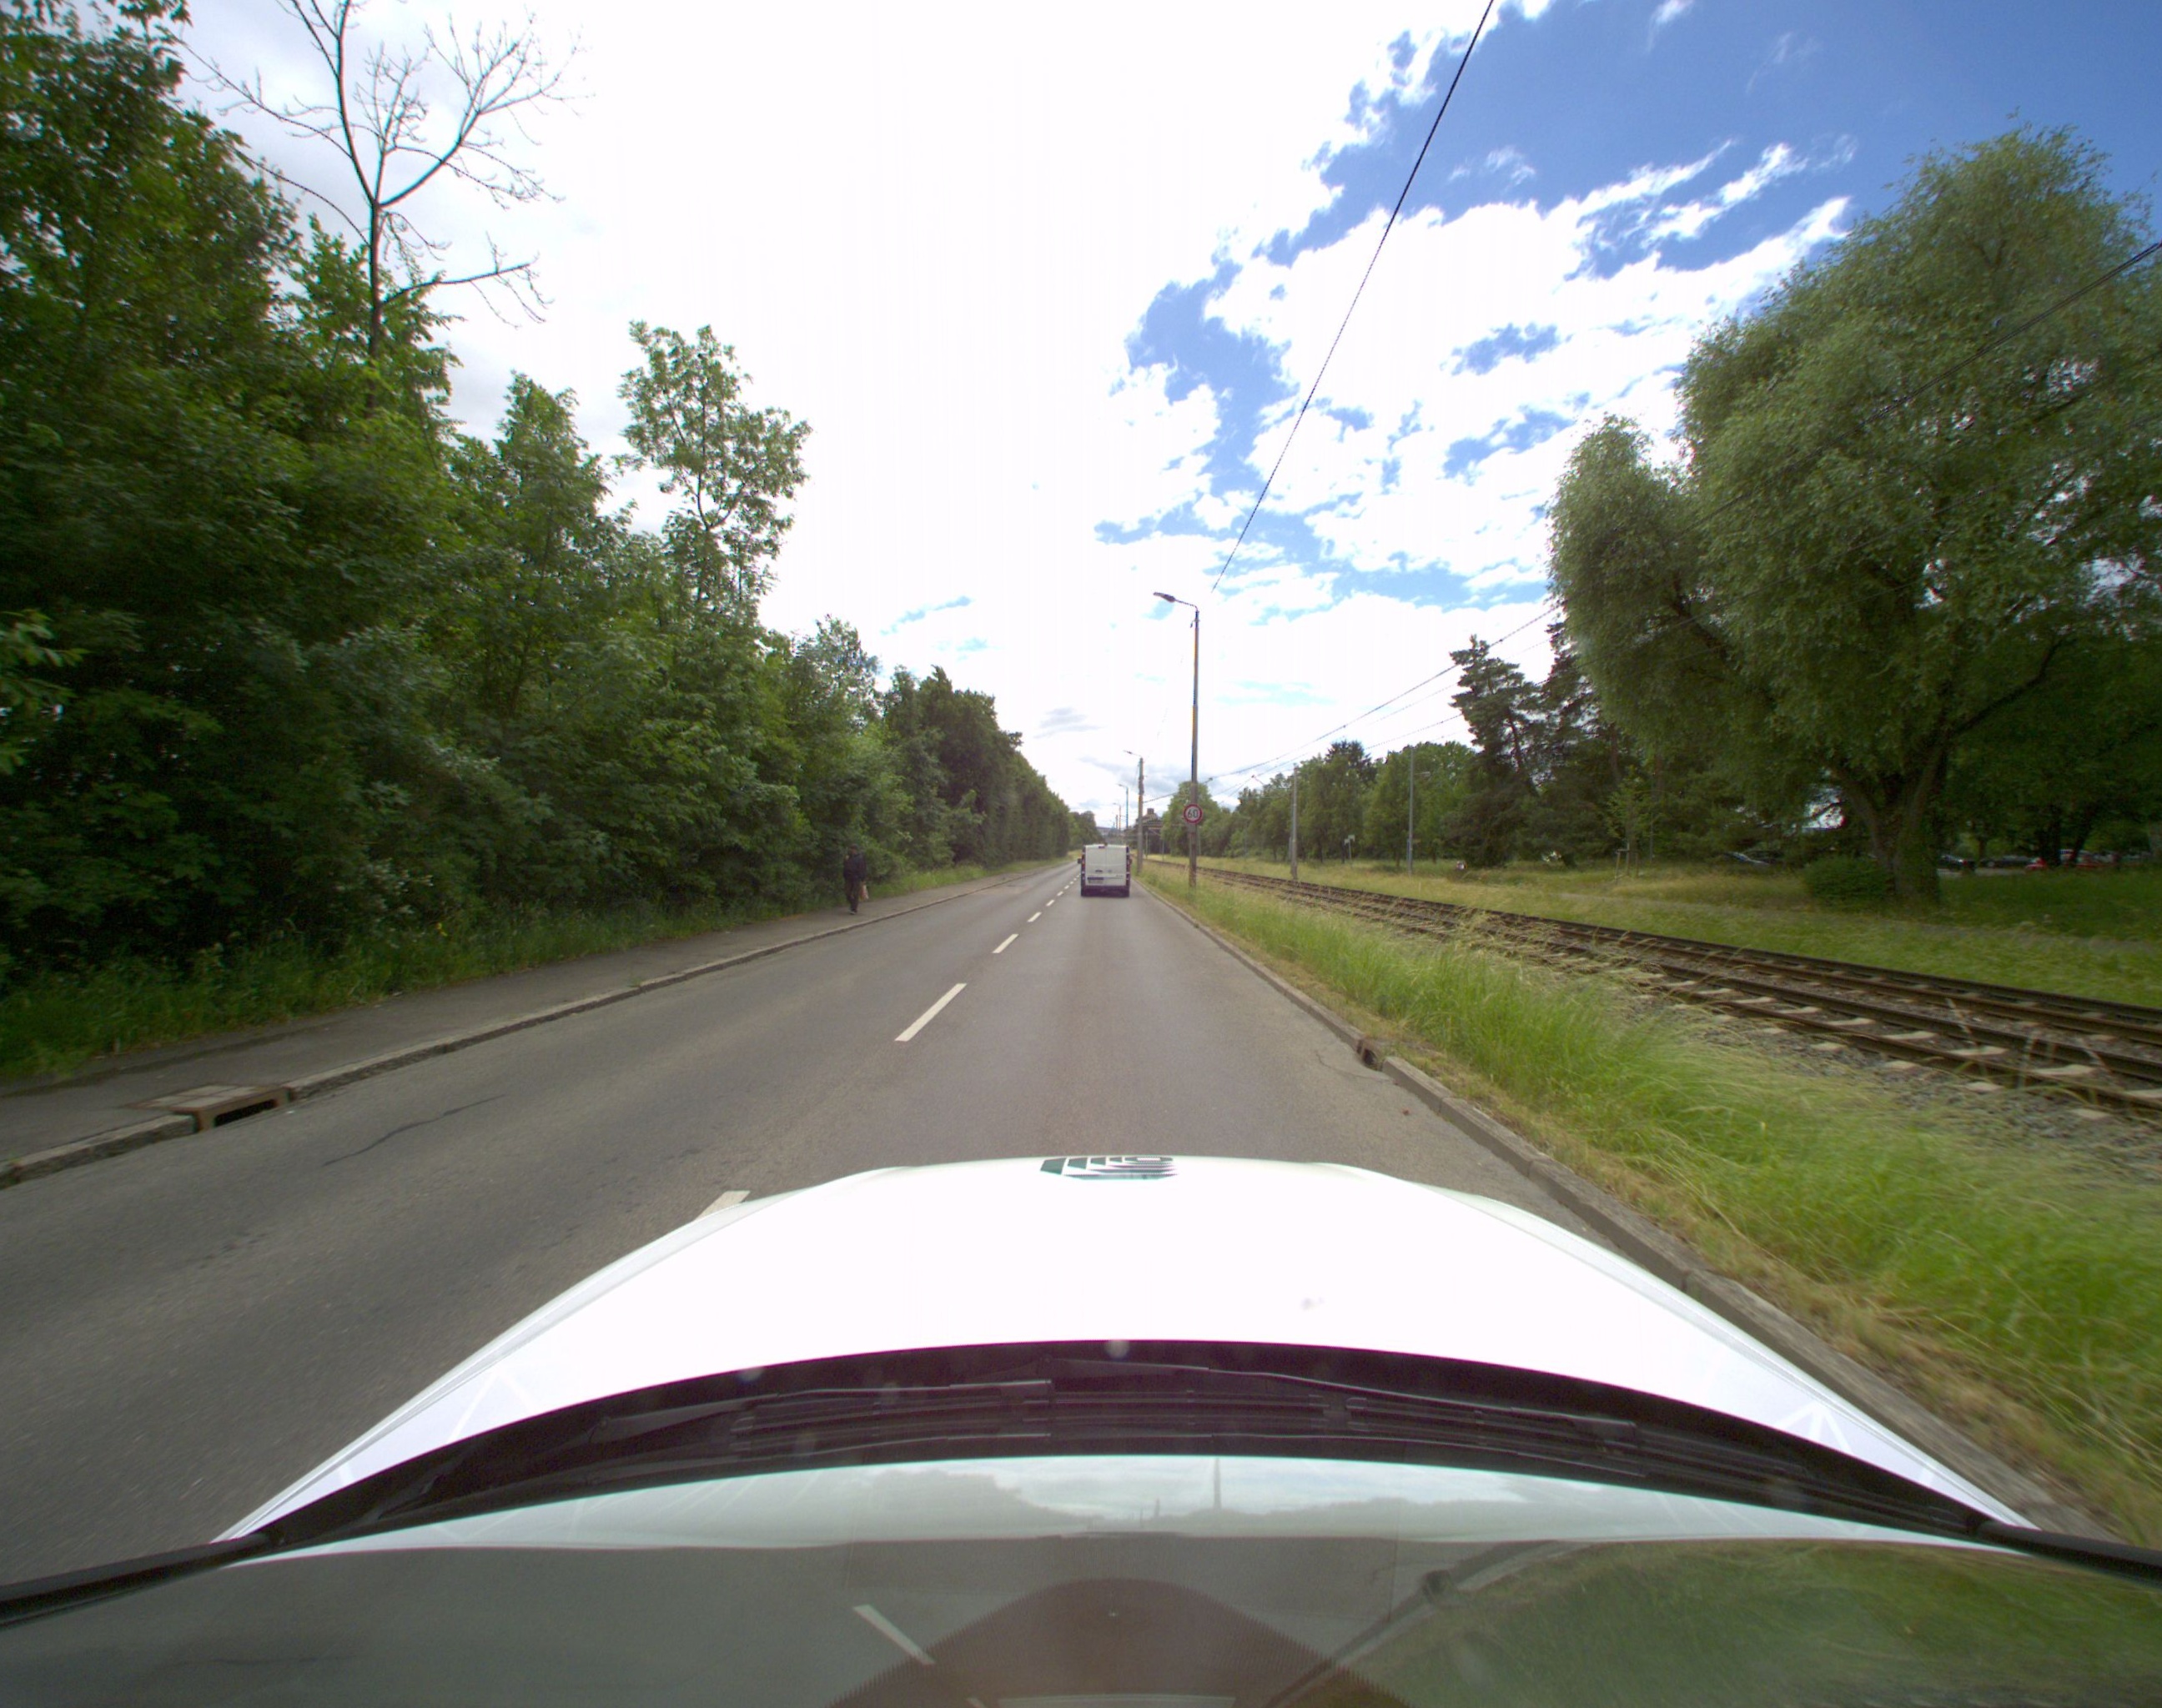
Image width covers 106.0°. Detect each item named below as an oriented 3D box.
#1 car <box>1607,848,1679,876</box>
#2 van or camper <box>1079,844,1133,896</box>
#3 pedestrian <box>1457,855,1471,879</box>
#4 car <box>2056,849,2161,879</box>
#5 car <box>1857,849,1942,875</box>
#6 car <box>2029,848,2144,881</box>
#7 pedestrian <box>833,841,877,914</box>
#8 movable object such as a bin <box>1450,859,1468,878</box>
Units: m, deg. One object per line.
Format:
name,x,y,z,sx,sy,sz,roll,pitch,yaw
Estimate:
car,38.059,0.505,55.259,1.744,1.803,3.985,1,0,-11
van or camper,1.000,0.600,32.044,1.934,1.897,4.287,-1,0,2
pedestrian,27.102,0.922,57.574,0.650,1.667,0.964,0,-1,42
car,61.399,0.569,48.578,1.832,1.734,3.786,1,0,-23
car,59.852,0.541,59.631,2.002,1.812,3.969,1,0,-24
car,57.151,0.566,46.367,1.832,1.734,3.786,1,0,-23
pedestrian,-5.591,0.571,20.175,0.866,1.769,0.789,1,0,-3
movable object such as a bin,26.208,0.976,56.450,0.652,1.310,1.653,0,-1,42
